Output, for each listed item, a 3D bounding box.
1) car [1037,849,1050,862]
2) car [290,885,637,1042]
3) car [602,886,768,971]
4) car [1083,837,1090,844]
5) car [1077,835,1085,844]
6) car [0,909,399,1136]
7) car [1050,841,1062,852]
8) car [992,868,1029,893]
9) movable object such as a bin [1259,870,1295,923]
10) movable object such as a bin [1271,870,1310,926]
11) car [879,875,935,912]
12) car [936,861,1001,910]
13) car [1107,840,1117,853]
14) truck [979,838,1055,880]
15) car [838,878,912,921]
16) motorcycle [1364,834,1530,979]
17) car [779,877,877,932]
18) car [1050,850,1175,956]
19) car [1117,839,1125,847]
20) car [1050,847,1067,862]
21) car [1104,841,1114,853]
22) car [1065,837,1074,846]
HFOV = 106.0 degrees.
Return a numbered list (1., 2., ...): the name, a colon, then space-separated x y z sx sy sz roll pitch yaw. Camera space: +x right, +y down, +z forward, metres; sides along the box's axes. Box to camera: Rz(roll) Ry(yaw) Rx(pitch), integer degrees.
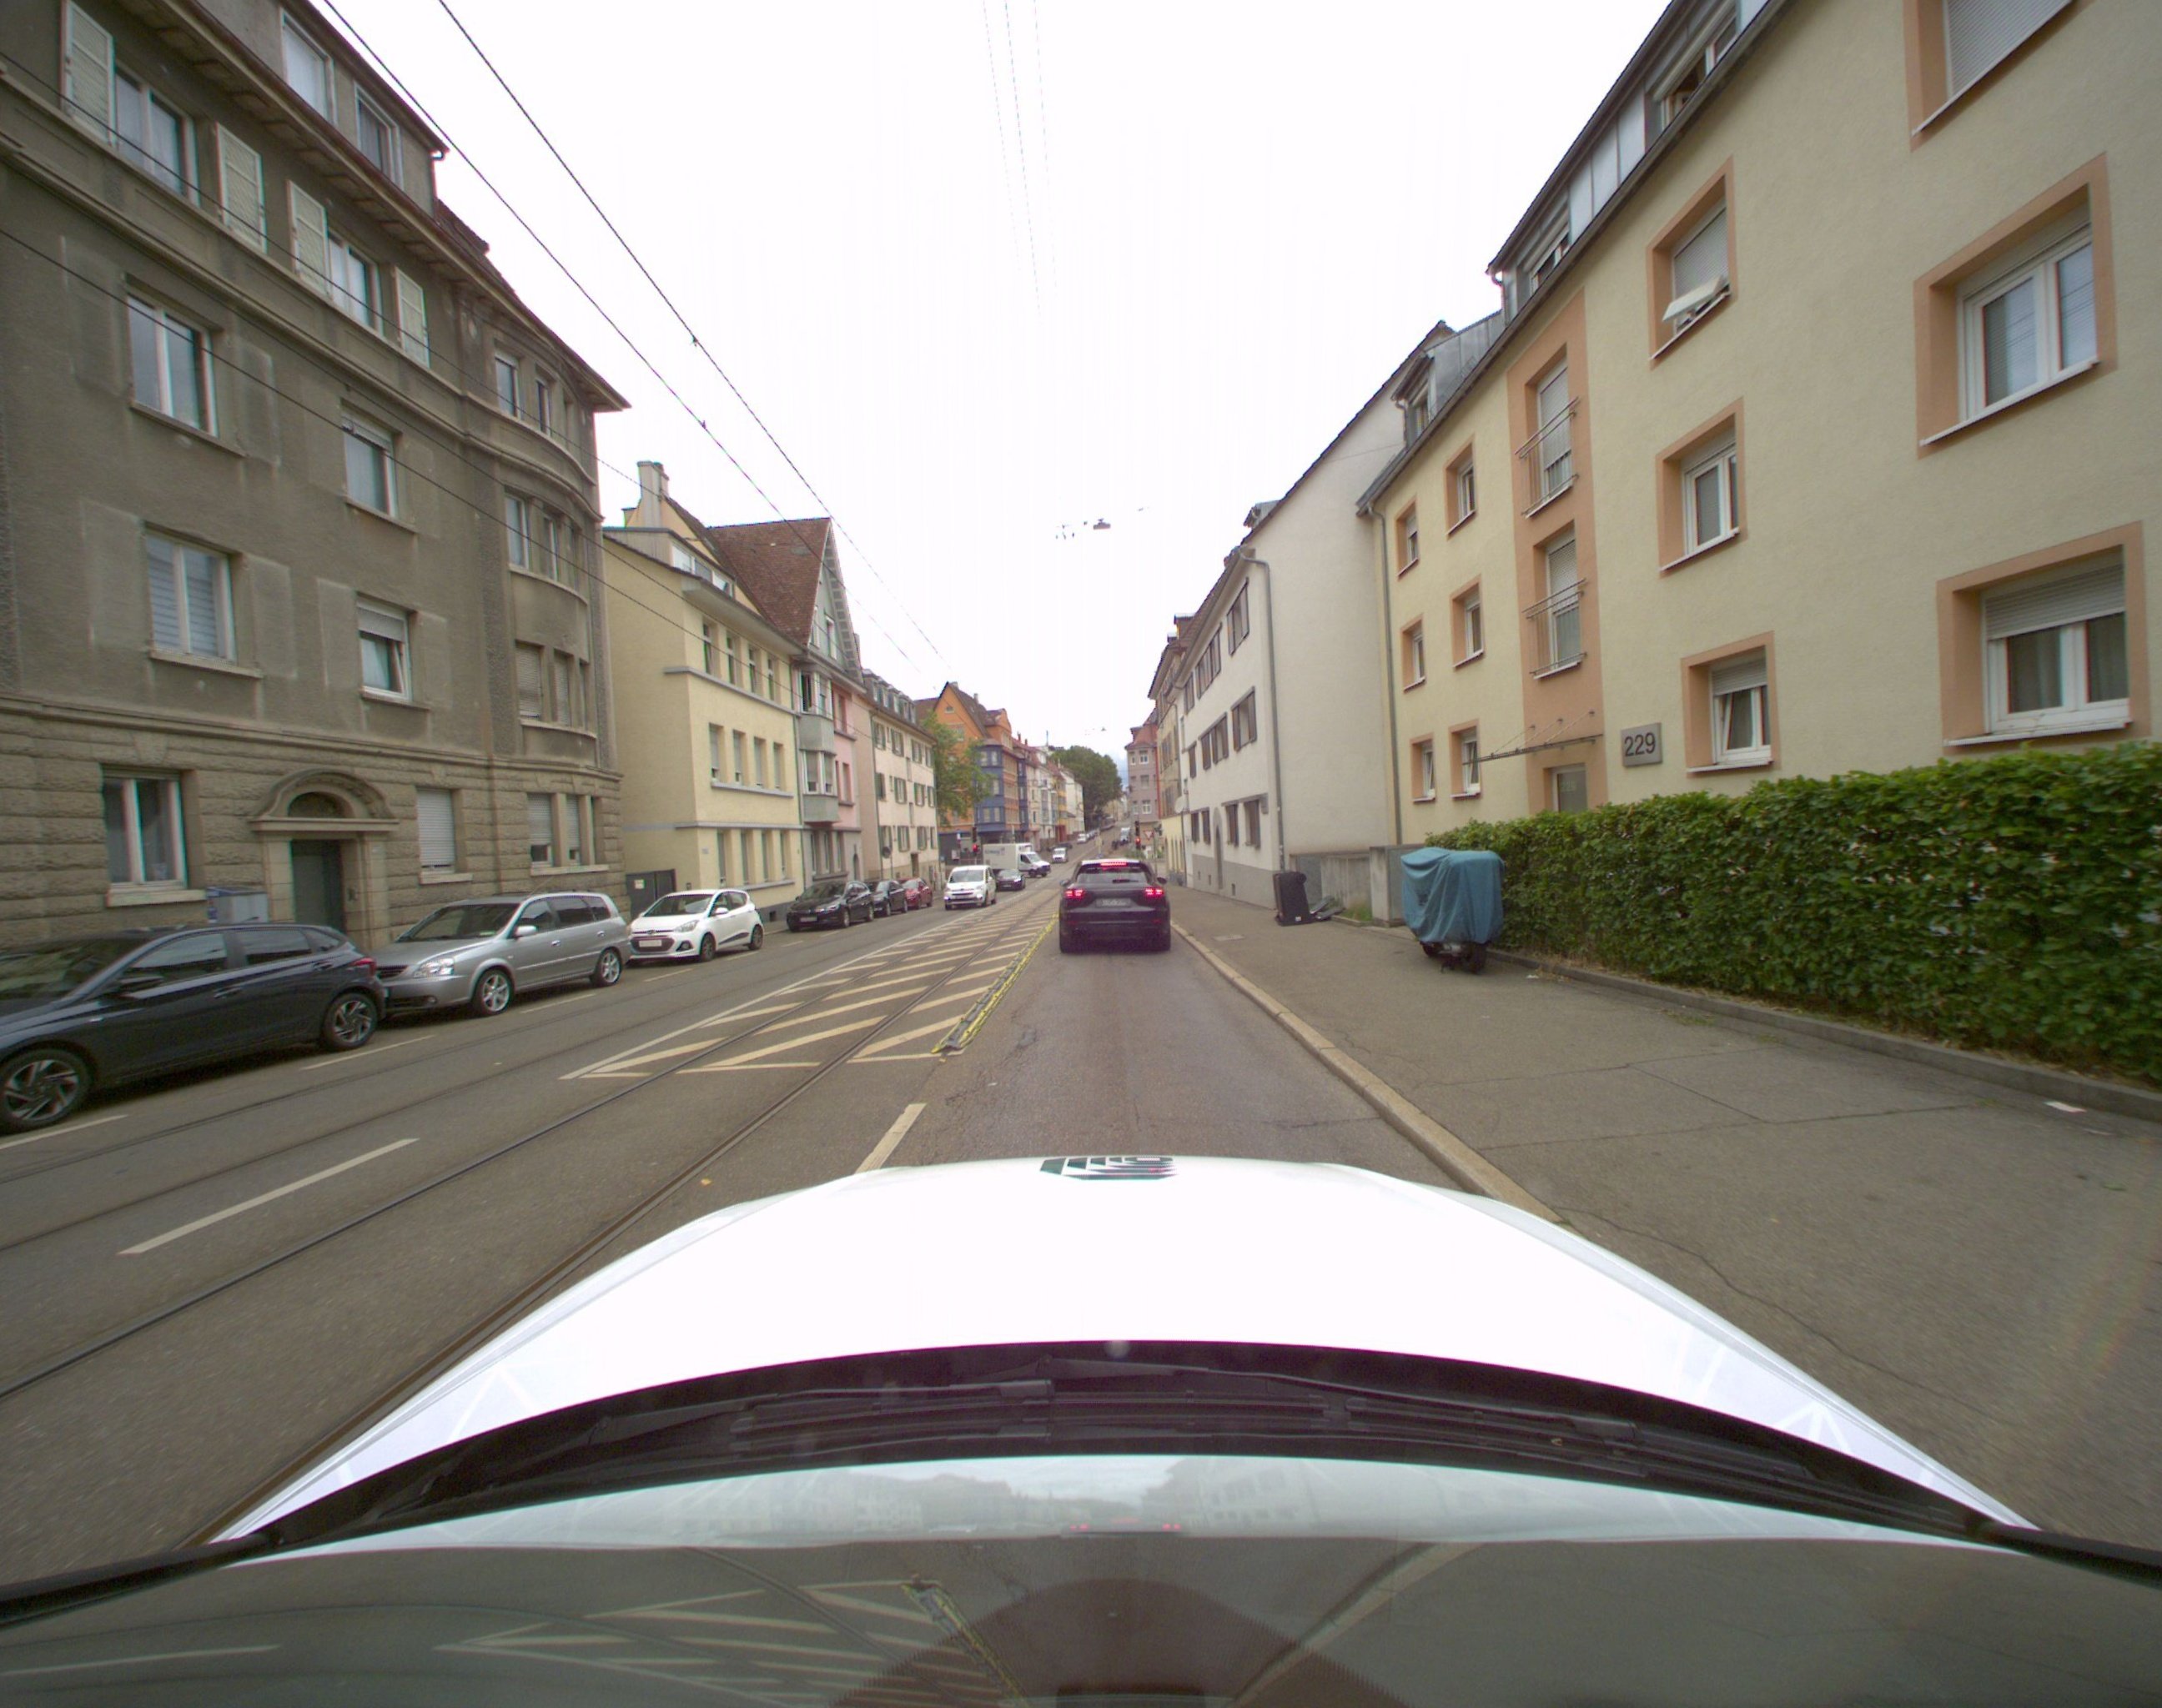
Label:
1. car: -5.057 0.236 111.218 1.389 1.722 3.360 -3 -1 2
2. car: -8.498 1.377 11.827 1.615 1.604 4.350 -4 0 0
3. car: -8.399 1.513 17.653 1.615 1.463 3.686 -4 -1 2
4. car: 1.132 -2.937 175.073 1.389 1.450 3.360 -3 -1 2
5. car: -0.044 -2.876 161.670 1.389 1.450 3.360 -3 -1 2
6. car: -8.598 1.376 7.229 1.615 1.463 4.032 -4 -1 0
7. car: -3.787 -1.112 124.084 1.389 1.450 3.360 -3 -1 2
8. car: -4.685 1.750 54.524 1.914 1.424 4.498 -3 -1 1
9. movable object such as a bin: 4.223 0.906 17.567 0.608 1.080 0.542 -3 -1 3
10. movable object such as a bin: 4.245 0.885 16.559 0.586 1.080 0.692 -3 -1 3
11. car: -7.969 1.771 37.559 1.615 1.490 4.046 -4 -1 0
12. car: -4.726 1.284 34.829 1.913 1.819 4.220 -3 -1 2
13. car: 4.487 -1.060 117.506 1.389 1.722 3.360 -3 -1 2
14. truck: -5.784 0.477 73.162 6.321 3.371 2.361 -4 -1 26
15. car: -8.029 1.738 32.163 1.730 1.410 4.001 -3 -1 1
16. motorcycle: 4.240 0.551 9.724 0.835 1.456 2.554 -3 -1 2
17. car: -8.027 1.555 26.289 1.615 1.473 4.555 -4 -1 0
18. car: 0.566 0.838 15.658 1.987 1.676 4.000 -3 -1 1
19. car: 7.403 -2.019 149.579 1.389 1.450 3.360 -3 -1 2
20. car: -2.749 0.051 102.175 1.744 1.759 4.256 -3 -1 2
21. car: 4.304 -1.055 124.268 1.389 1.722 3.360 -3 -1 2
22. car: -2.059 -2.142 145.721 1.389 1.450 3.360 -3 -1 2
